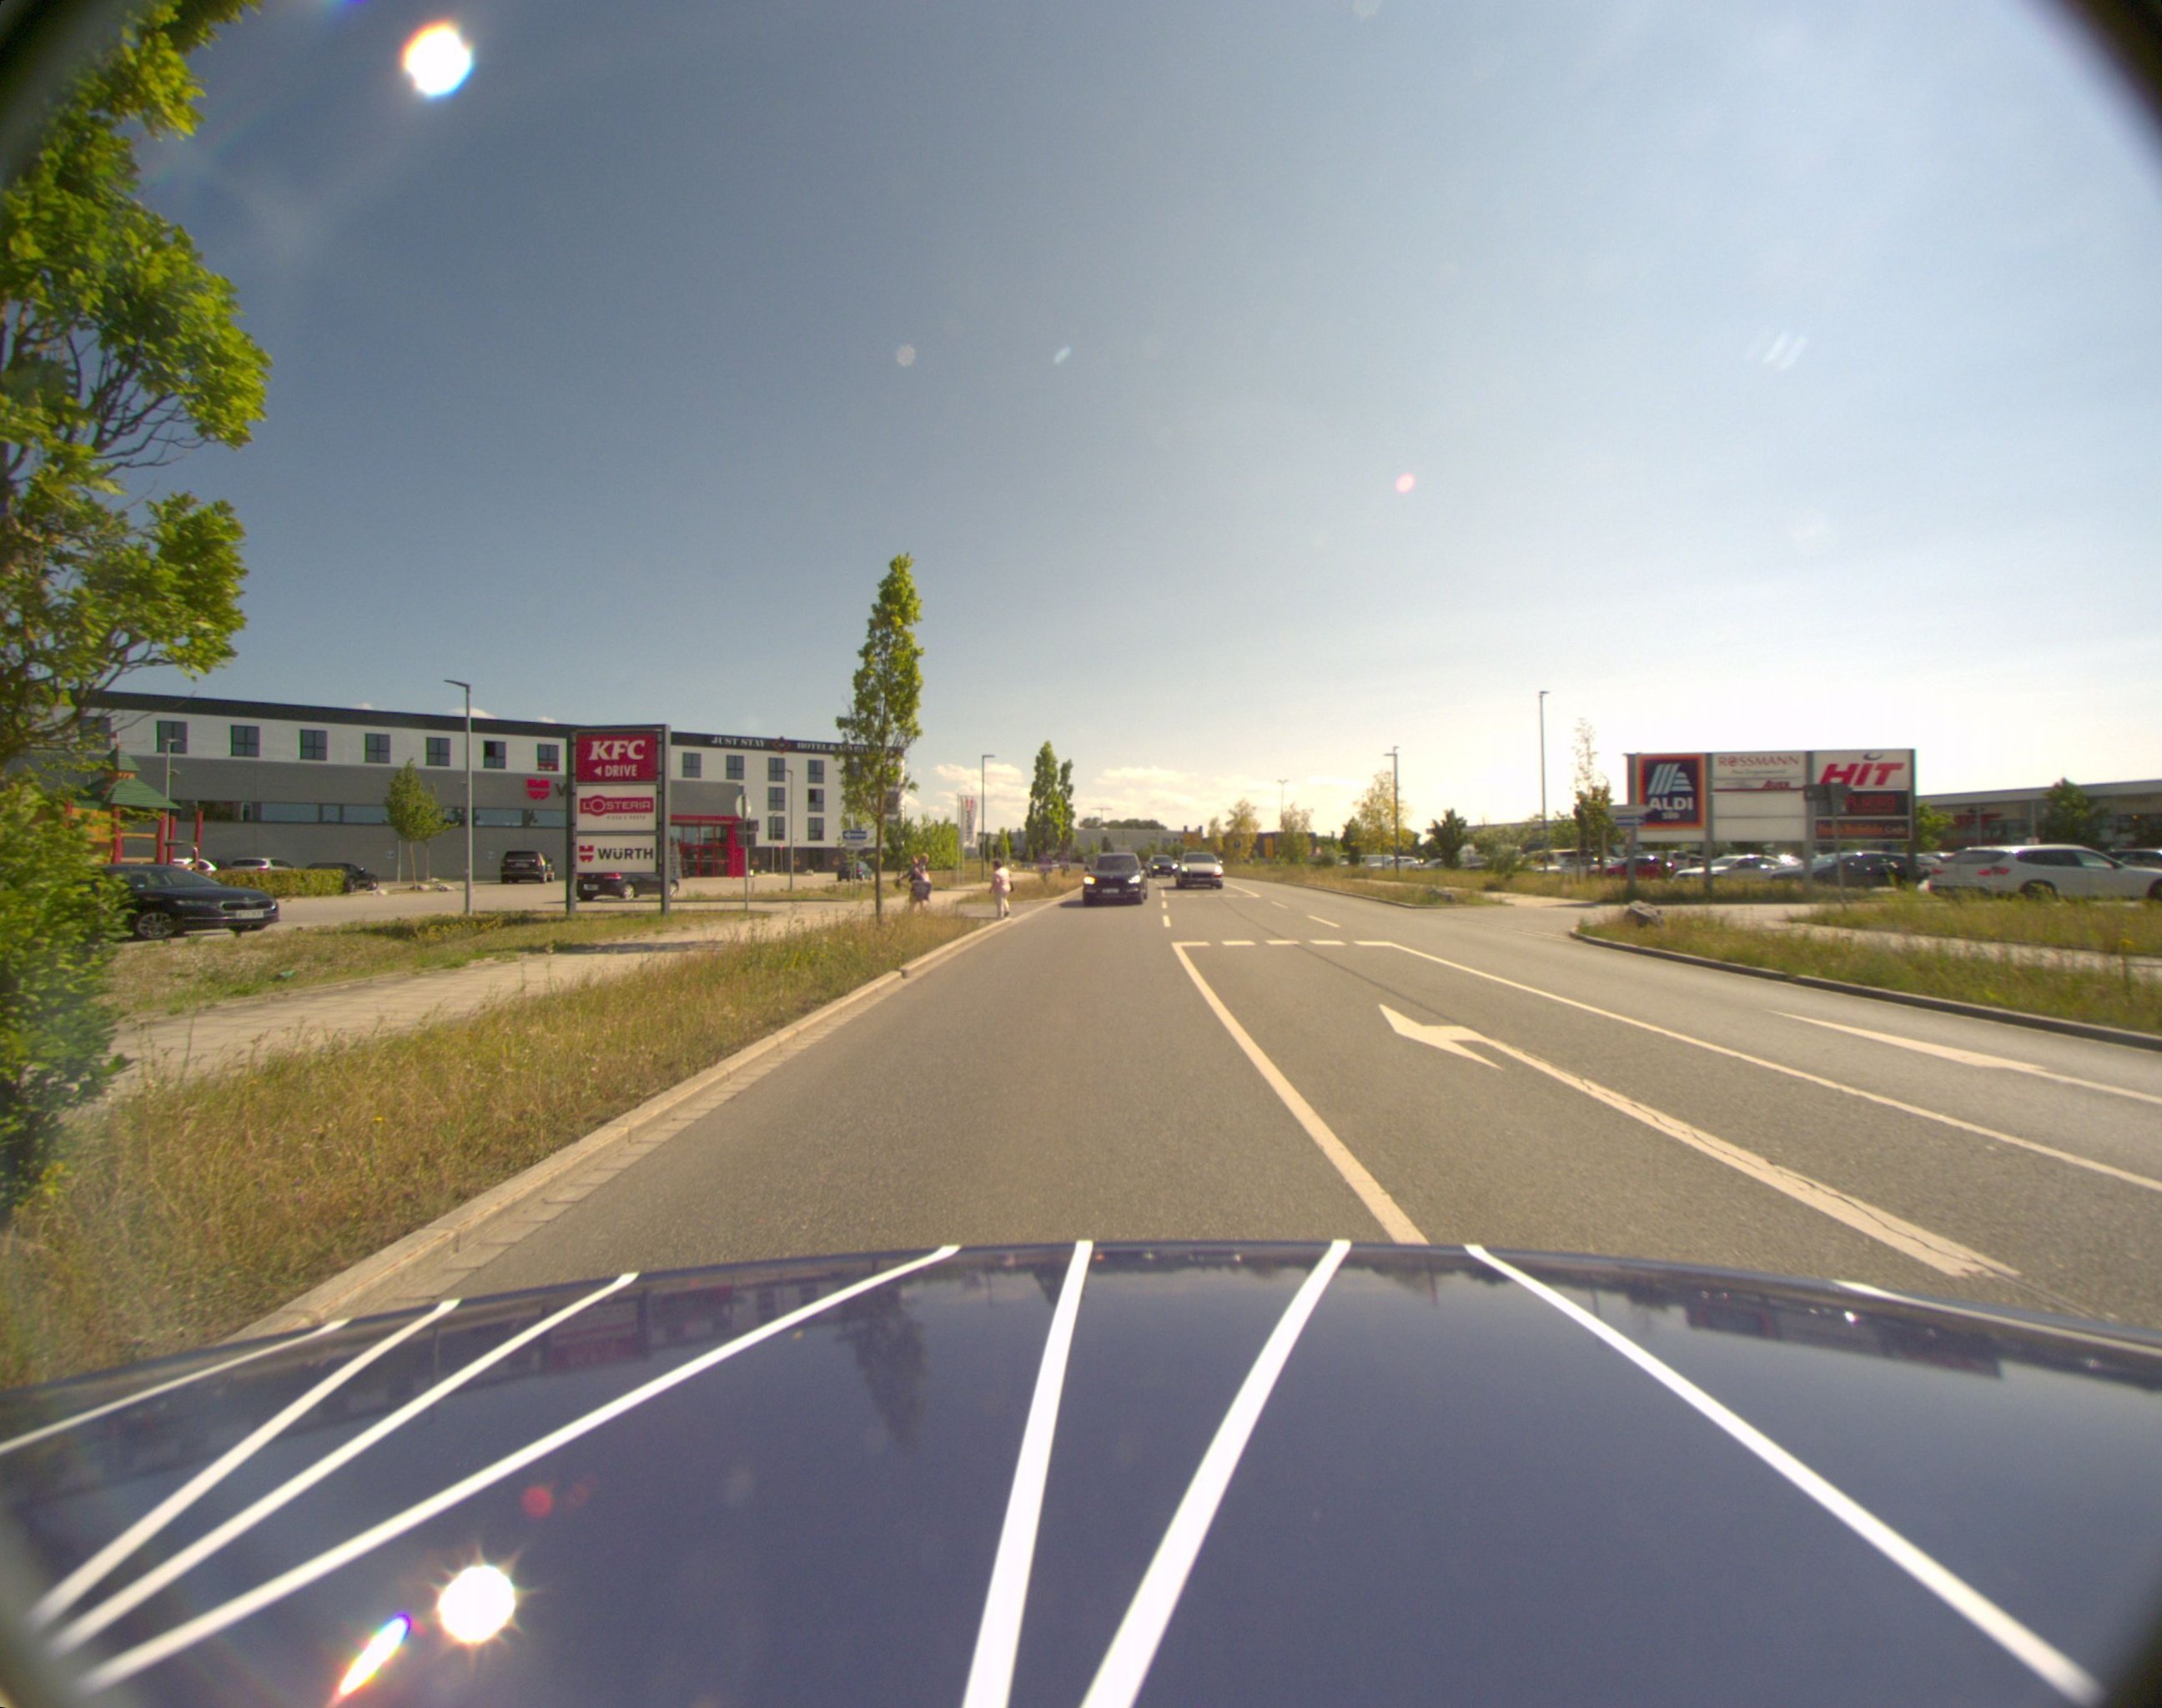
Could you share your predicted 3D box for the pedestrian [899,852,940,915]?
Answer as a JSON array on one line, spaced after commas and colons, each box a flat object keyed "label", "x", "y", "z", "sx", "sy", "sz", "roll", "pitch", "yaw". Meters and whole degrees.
[{"label": "pedestrian", "x": -4.264, "y": 0.763, "z": 20.107, "sx": 0.811, "sy": 1.619, "sz": 0.866, "roll": -1, "pitch": 0, "yaw": 4}]

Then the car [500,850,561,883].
[{"label": "car", "x": -32.007, "y": 0.683, "z": 44.324, "sx": 2.052, "sy": 1.805, "sz": 4.913, "roll": 0, "pitch": 0, "yaw": -26}]

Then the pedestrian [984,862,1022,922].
[{"label": "pedestrian", "x": -1.972, "y": 0.950, "z": 19.309, "sx": 0.794, "sy": 1.461, "sz": 0.949, "roll": -1, "pitch": 0, "yaw": 4}]

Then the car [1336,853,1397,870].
[{"label": "car", "x": 27.582, "y": 0.709, "z": 73.454, "sx": 5.198, "sy": 1.662, "sz": 1.998, "roll": 0, "pitch": 0, "yaw": -10}]

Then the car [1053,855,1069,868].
[{"label": "car", "x": -2.454, "y": 0.911, "z": 92.110, "sx": 1.786, "sy": 1.485, "sz": 3.998, "roll": -1, "pitch": 0, "yaw": -4}]

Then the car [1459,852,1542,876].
[{"label": "car", "x": 29.221, "y": 0.680, "z": 52.964, "sx": 4.781, "sy": 1.662, "sz": 1.882, "roll": 0, "pitch": 0, "yaw": -3}]

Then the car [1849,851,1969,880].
[{"label": "car", "x": 47.325, "y": 0.628, "z": 43.547, "sx": 1.719, "sy": 1.562, "sz": 4.348, "roll": 0, "pitch": 0, "yaw": -18}]

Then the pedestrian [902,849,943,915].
[{"label": "pedestrian", "x": -4.021, "y": 0.702, "z": 19.309, "sx": 0.803, "sy": 1.620, "sz": 0.805, "roll": -1, "pitch": 1, "yaw": 4}]

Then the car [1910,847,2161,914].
[{"label": "car", "x": 23.572, "y": 0.619, "z": 18.630, "sx": 4.221, "sy": 1.538, "sz": 1.918, "roll": 0, "pitch": 0, "yaw": 4}]

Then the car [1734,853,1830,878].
[{"label": "car", "x": 45.394, "y": 0.725, "z": 49.359, "sx": 1.718, "sy": 1.517, "sz": 4.349, "roll": 0, "pitch": 0, "yaw": -15}]

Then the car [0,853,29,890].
[{"label": "car", "x": -51.805, "y": 0.812, "z": 35.335, "sx": 1.704, "sy": 1.747, "sz": 4.100, "roll": 0, "pitch": 0, "yaw": -28}]

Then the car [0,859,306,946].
[{"label": "car", "x": -18.478, "y": 0.901, "z": 14.900, "sx": 4.418, "sy": 1.557, "sz": 1.995, "roll": 1, "pitch": 0, "yaw": -2}]

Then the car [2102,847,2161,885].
[{"label": "car", "x": 45.155, "y": 0.469, "z": 30.695, "sx": 1.719, "sy": 1.551, "sz": 4.348, "roll": 0, "pitch": 0, "yaw": -18}]

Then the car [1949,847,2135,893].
[{"label": "car", "x": 35.056, "y": 0.541, "z": 27.924, "sx": 1.915, "sy": 1.538, "sz": 4.001, "roll": 0, "pitch": 0, "yaw": 5}]

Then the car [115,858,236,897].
[{"label": "car", "x": -36.346, "y": 0.892, "z": 30.652, "sx": 1.704, "sy": 1.463, "sz": 4.223, "roll": 0, "pitch": 0, "yaw": -29}]

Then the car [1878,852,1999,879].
[{"label": "car", "x": 49.717, "y": 0.657, "z": 44.190, "sx": 1.719, "sy": 1.523, "sz": 4.348, "roll": 0, "pitch": 0, "yaw": -18}]

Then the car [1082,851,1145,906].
[{"label": "car", "x": 1.016, "y": 0.823, "z": 25.583, "sx": 1.900, "sy": 1.669, "sz": 4.468, "roll": -1, "pitch": -2, "yaw": 0}]

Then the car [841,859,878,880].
[{"label": "car", "x": -15.363, "y": 1.068, "z": 52.830, "sx": 1.517, "sy": 1.399, "sz": 3.999, "roll": 0, "pitch": 0, "yaw": -3}]

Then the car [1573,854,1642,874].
[{"label": "car", "x": 41.648, "y": 0.782, "z": 60.257, "sx": 1.719, "sy": 1.517, "sz": 4.348, "roll": 0, "pitch": 0, "yaw": -19}]

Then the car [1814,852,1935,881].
[{"label": "car", "x": 44.208, "y": 0.662, "z": 42.464, "sx": 1.719, "sy": 1.540, "sz": 4.348, "roll": 0, "pitch": 0, "yaw": -18}]

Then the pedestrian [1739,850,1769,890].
[{"label": "pedestrian", "x": 28.384, "y": 0.677, "z": 32.065, "sx": 0.766, "sy": 1.685, "sz": 0.578, "roll": 0, "pitch": 1, "yaw": 4}]

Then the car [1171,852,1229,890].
[{"label": "car", "x": 5.532, "y": 0.822, "z": 35.898, "sx": 2.114, "sy": 1.633, "sz": 4.779, "roll": -1, "pitch": -2, "yaw": 2}]

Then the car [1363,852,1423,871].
[{"label": "car", "x": 28.044, "y": 0.699, "z": 68.395, "sx": 4.603, "sy": 1.662, "sz": 1.999, "roll": 0, "pitch": 0, "yaw": -5}]

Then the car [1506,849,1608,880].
[{"label": "car", "x": 31.690, "y": 0.686, "z": 50.662, "sx": 5.698, "sy": 1.953, "sz": 1.999, "roll": 0, "pitch": 0, "yaw": -6}]

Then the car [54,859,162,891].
[{"label": "car", "x": -47.497, "y": 0.967, "z": 37.222, "sx": 1.704, "sy": 1.454, "sz": 4.100, "roll": 0, "pitch": 0, "yaw": -28}]

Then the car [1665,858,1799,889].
[{"label": "car", "x": 28.386, "y": 0.844, "z": 33.245, "sx": 4.153, "sy": 1.340, "sz": 1.937, "roll": 0, "pitch": 0, "yaw": 3}]

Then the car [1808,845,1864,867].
[{"label": "car", "x": 62.251, "y": 0.178, "z": 62.617, "sx": 4.359, "sy": 1.797, "sz": 1.714, "roll": 0, "pitch": 0, "yaw": -22}]

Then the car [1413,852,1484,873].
[{"label": "car", "x": 29.261, "y": 0.692, "z": 60.573, "sx": 4.714, "sy": 1.662, "sz": 1.999, "roll": 0, "pitch": 0, "yaw": -3}]

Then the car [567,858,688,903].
[{"label": "car", "x": -16.778, "y": 0.930, "z": 28.365, "sx": 1.784, "sy": 1.531, "sz": 4.170, "roll": 0, "pitch": 0, "yaw": 4}]

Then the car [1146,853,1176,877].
[{"label": "car", "x": 5.725, "y": 0.766, "z": 54.625, "sx": 1.756, "sy": 1.677, "sz": 4.381, "roll": 0, "pitch": 0, "yaw": 1}]

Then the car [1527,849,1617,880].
[{"label": "car", "x": 29.424, "y": 0.628, "z": 45.651, "sx": 4.154, "sy": 1.850, "sz": 1.933, "roll": 0, "pitch": 0, "yaw": 1}]

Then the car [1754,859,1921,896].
[{"label": "car", "x": 27.914, "y": 0.848, "z": 28.148, "sx": 4.153, "sy": 1.340, "sz": 1.937, "roll": 0, "pitch": 0, "yaw": 3}]

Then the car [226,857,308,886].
[{"label": "car", "x": -42.877, "y": 0.873, "z": 40.129, "sx": 1.704, "sy": 1.454, "sz": 4.100, "roll": 0, "pitch": 0, "yaw": -28}]

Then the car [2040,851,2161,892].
[{"label": "car", "x": 40.059, "y": 0.649, "z": 28.766, "sx": 1.719, "sy": 1.507, "sz": 4.348, "roll": 0, "pitch": 0, "yaw": -18}]

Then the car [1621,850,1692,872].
[{"label": "car", "x": 46.840, "y": 0.552, "z": 61.944, "sx": 1.718, "sy": 1.730, "sz": 4.578, "roll": 0, "pitch": 0, "yaw": -15}]

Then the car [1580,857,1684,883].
[{"label": "car", "x": 29.506, "y": 0.831, "z": 40.772, "sx": 4.153, "sy": 1.340, "sz": 1.937, "roll": 0, "pitch": 0, "yaw": 3}]

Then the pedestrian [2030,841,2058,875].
[{"label": "pedestrian", "x": 52.289, "y": 0.233, "z": 41.240, "sx": 0.570, "sy": 1.813, "sz": 0.780, "roll": 0, "pitch": 1, "yaw": -16}]
